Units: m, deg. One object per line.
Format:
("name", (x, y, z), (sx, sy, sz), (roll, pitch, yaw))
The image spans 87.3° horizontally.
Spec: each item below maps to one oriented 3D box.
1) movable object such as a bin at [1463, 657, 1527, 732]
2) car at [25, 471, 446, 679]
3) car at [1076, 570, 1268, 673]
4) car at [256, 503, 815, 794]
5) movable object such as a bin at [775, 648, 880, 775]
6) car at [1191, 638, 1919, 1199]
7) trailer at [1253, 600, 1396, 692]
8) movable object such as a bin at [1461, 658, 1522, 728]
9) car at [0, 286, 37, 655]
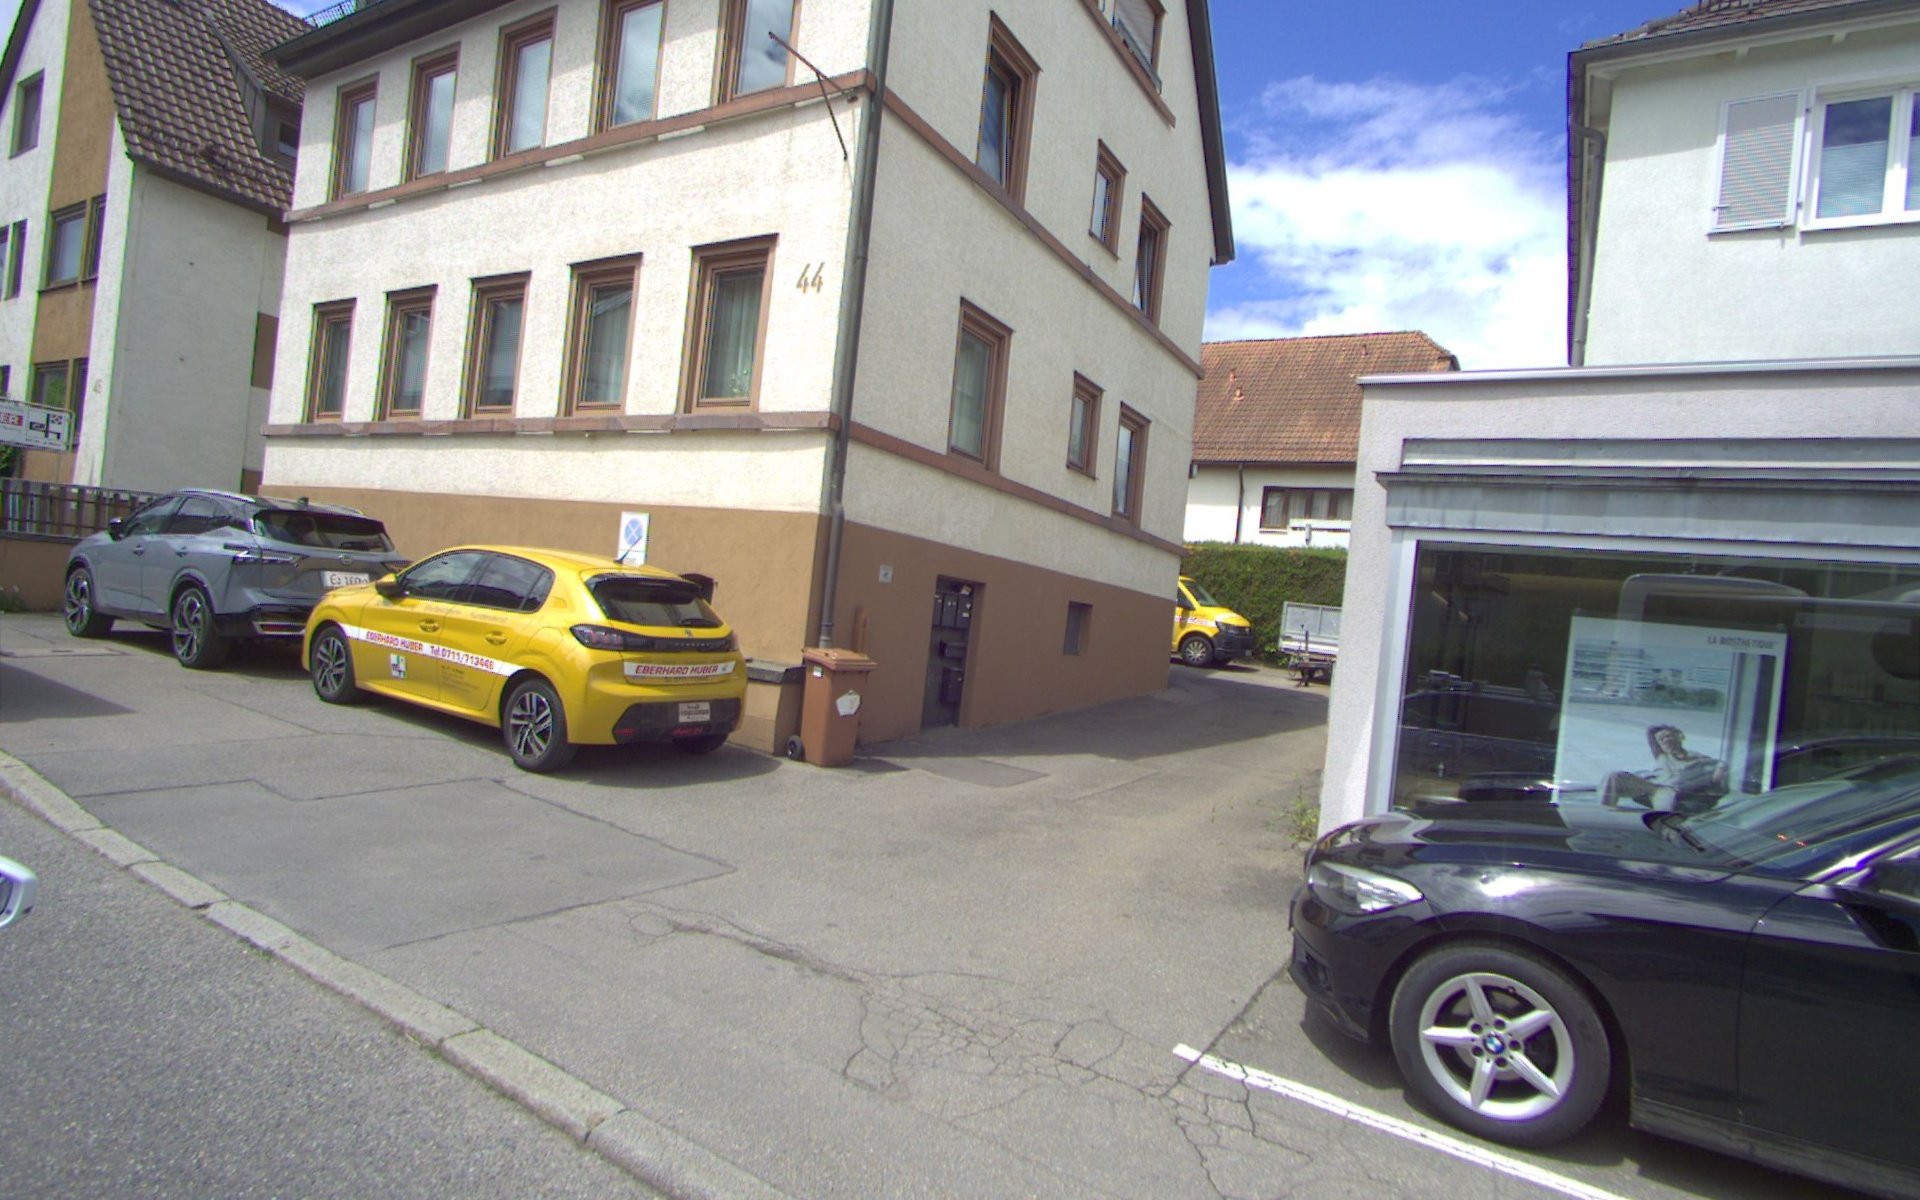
("movable object such as a bin", (8.197, 1.434, 15.400), (0.751, 1.032, 0.608), (6, 2, 31))
("car", (-7.572, -0.311, 10.395), (4.510, 1.632, 1.862), (6, 1, 32))
("car", (4.763, 0.440, 22.739), (3.715, 1.927, 1.844), (6, 2, 33))
("car", (-3.493, 0.263, 8.097), (4.234, 1.466, 1.880), (9, 1, 30))
("movable object such as a bin", (-1.096, 0.908, 8.308), (0.589, 0.936, 0.501), (6, 0, 36))
("car", (3.280, 1.132, 3.229), (4.459, 1.465, 1.971), (6, 0, 30))
("trailer", (7.549, 0.933, 20.652), (1.619, 1.558, 3.531), (7, 2, 38))
("movable object such as a bin", (8.444, 1.464, 15.975), (0.751, 0.983, 0.608), (6, 2, 31))
("car", (-8.939, -0.871, 6.959), (5.478, 2.830, 2.255), (6, 0, 32))
